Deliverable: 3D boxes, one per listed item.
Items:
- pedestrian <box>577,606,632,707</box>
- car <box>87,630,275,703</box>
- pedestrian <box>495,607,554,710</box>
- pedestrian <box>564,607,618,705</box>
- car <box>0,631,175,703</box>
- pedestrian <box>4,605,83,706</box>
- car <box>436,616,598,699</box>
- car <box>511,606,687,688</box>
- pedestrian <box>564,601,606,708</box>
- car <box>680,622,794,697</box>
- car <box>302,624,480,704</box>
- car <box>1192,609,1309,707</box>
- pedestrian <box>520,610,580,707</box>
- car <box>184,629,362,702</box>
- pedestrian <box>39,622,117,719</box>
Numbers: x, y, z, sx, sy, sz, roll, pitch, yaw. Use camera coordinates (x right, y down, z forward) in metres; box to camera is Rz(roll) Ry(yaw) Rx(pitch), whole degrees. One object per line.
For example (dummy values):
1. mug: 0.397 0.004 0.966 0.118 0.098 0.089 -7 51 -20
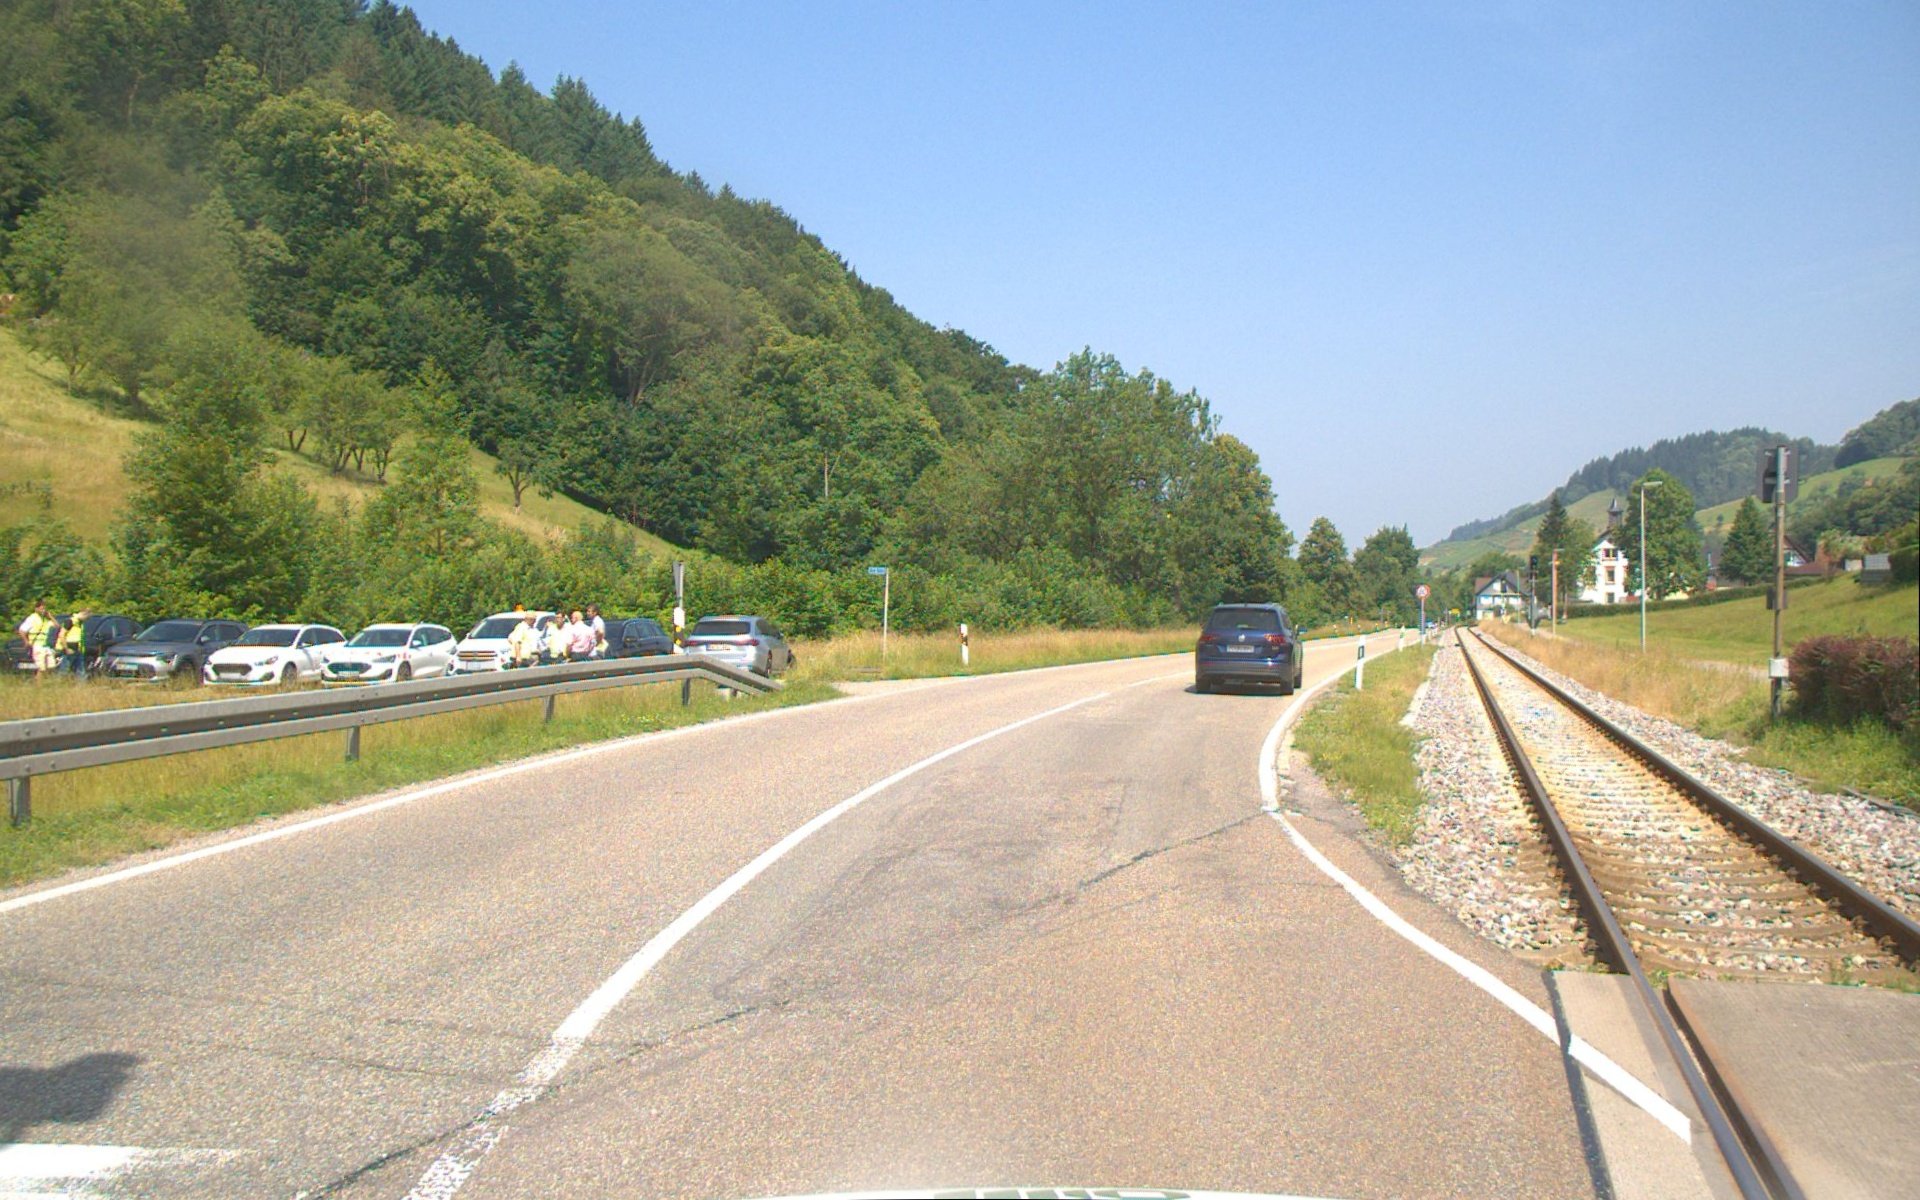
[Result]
1. pedestrian: -6.793 1.077 31.590 0.637 1.891 0.767 -2 -1 40
2. car: -18.019 1.494 38.527 1.952 1.527 4.523 1 -1 4
3. pedestrian: -8.104 1.079 30.775 0.771 1.875 0.699 -2 -1 17
4. pedestrian: -7.190 1.089 32.207 0.637 1.872 0.767 -2 -1 39
5. car: -20.537 1.531 38.676 1.952 1.527 4.523 -1 -1 4
6. pedestrian: -18.462 1.113 33.316 1.102 2.004 0.862 -2 -1 20
7. car: -10.210 1.289 38.499 1.831 1.813 4.776 0 -1 9
8. car: -7.991 1.031 37.131 1.951 1.681 4.624 -2 -1 15
9. pedestrian: -7.060 1.019 31.145 0.647 1.989 0.532 -1 -1 -4
10. car: -4.848 1.265 36.559 1.788 1.527 4.278 -1 -1 2
11. car: -13.022 1.426 38.208 1.951 1.670 4.905 -1 -1 6
12. car: 5.585 1.036 31.457 1.813 1.678 4.143 1 0 15
13. pedestrian: -7.846 1.112 31.630 0.755 1.827 0.792 -2 -1 33
14. car: -15.671 1.453 38.006 1.952 1.527 4.523 -1 -1 4
15. pedestrian: -17.170 1.363 32.220 0.934 1.826 1.000 -2 -1 0
